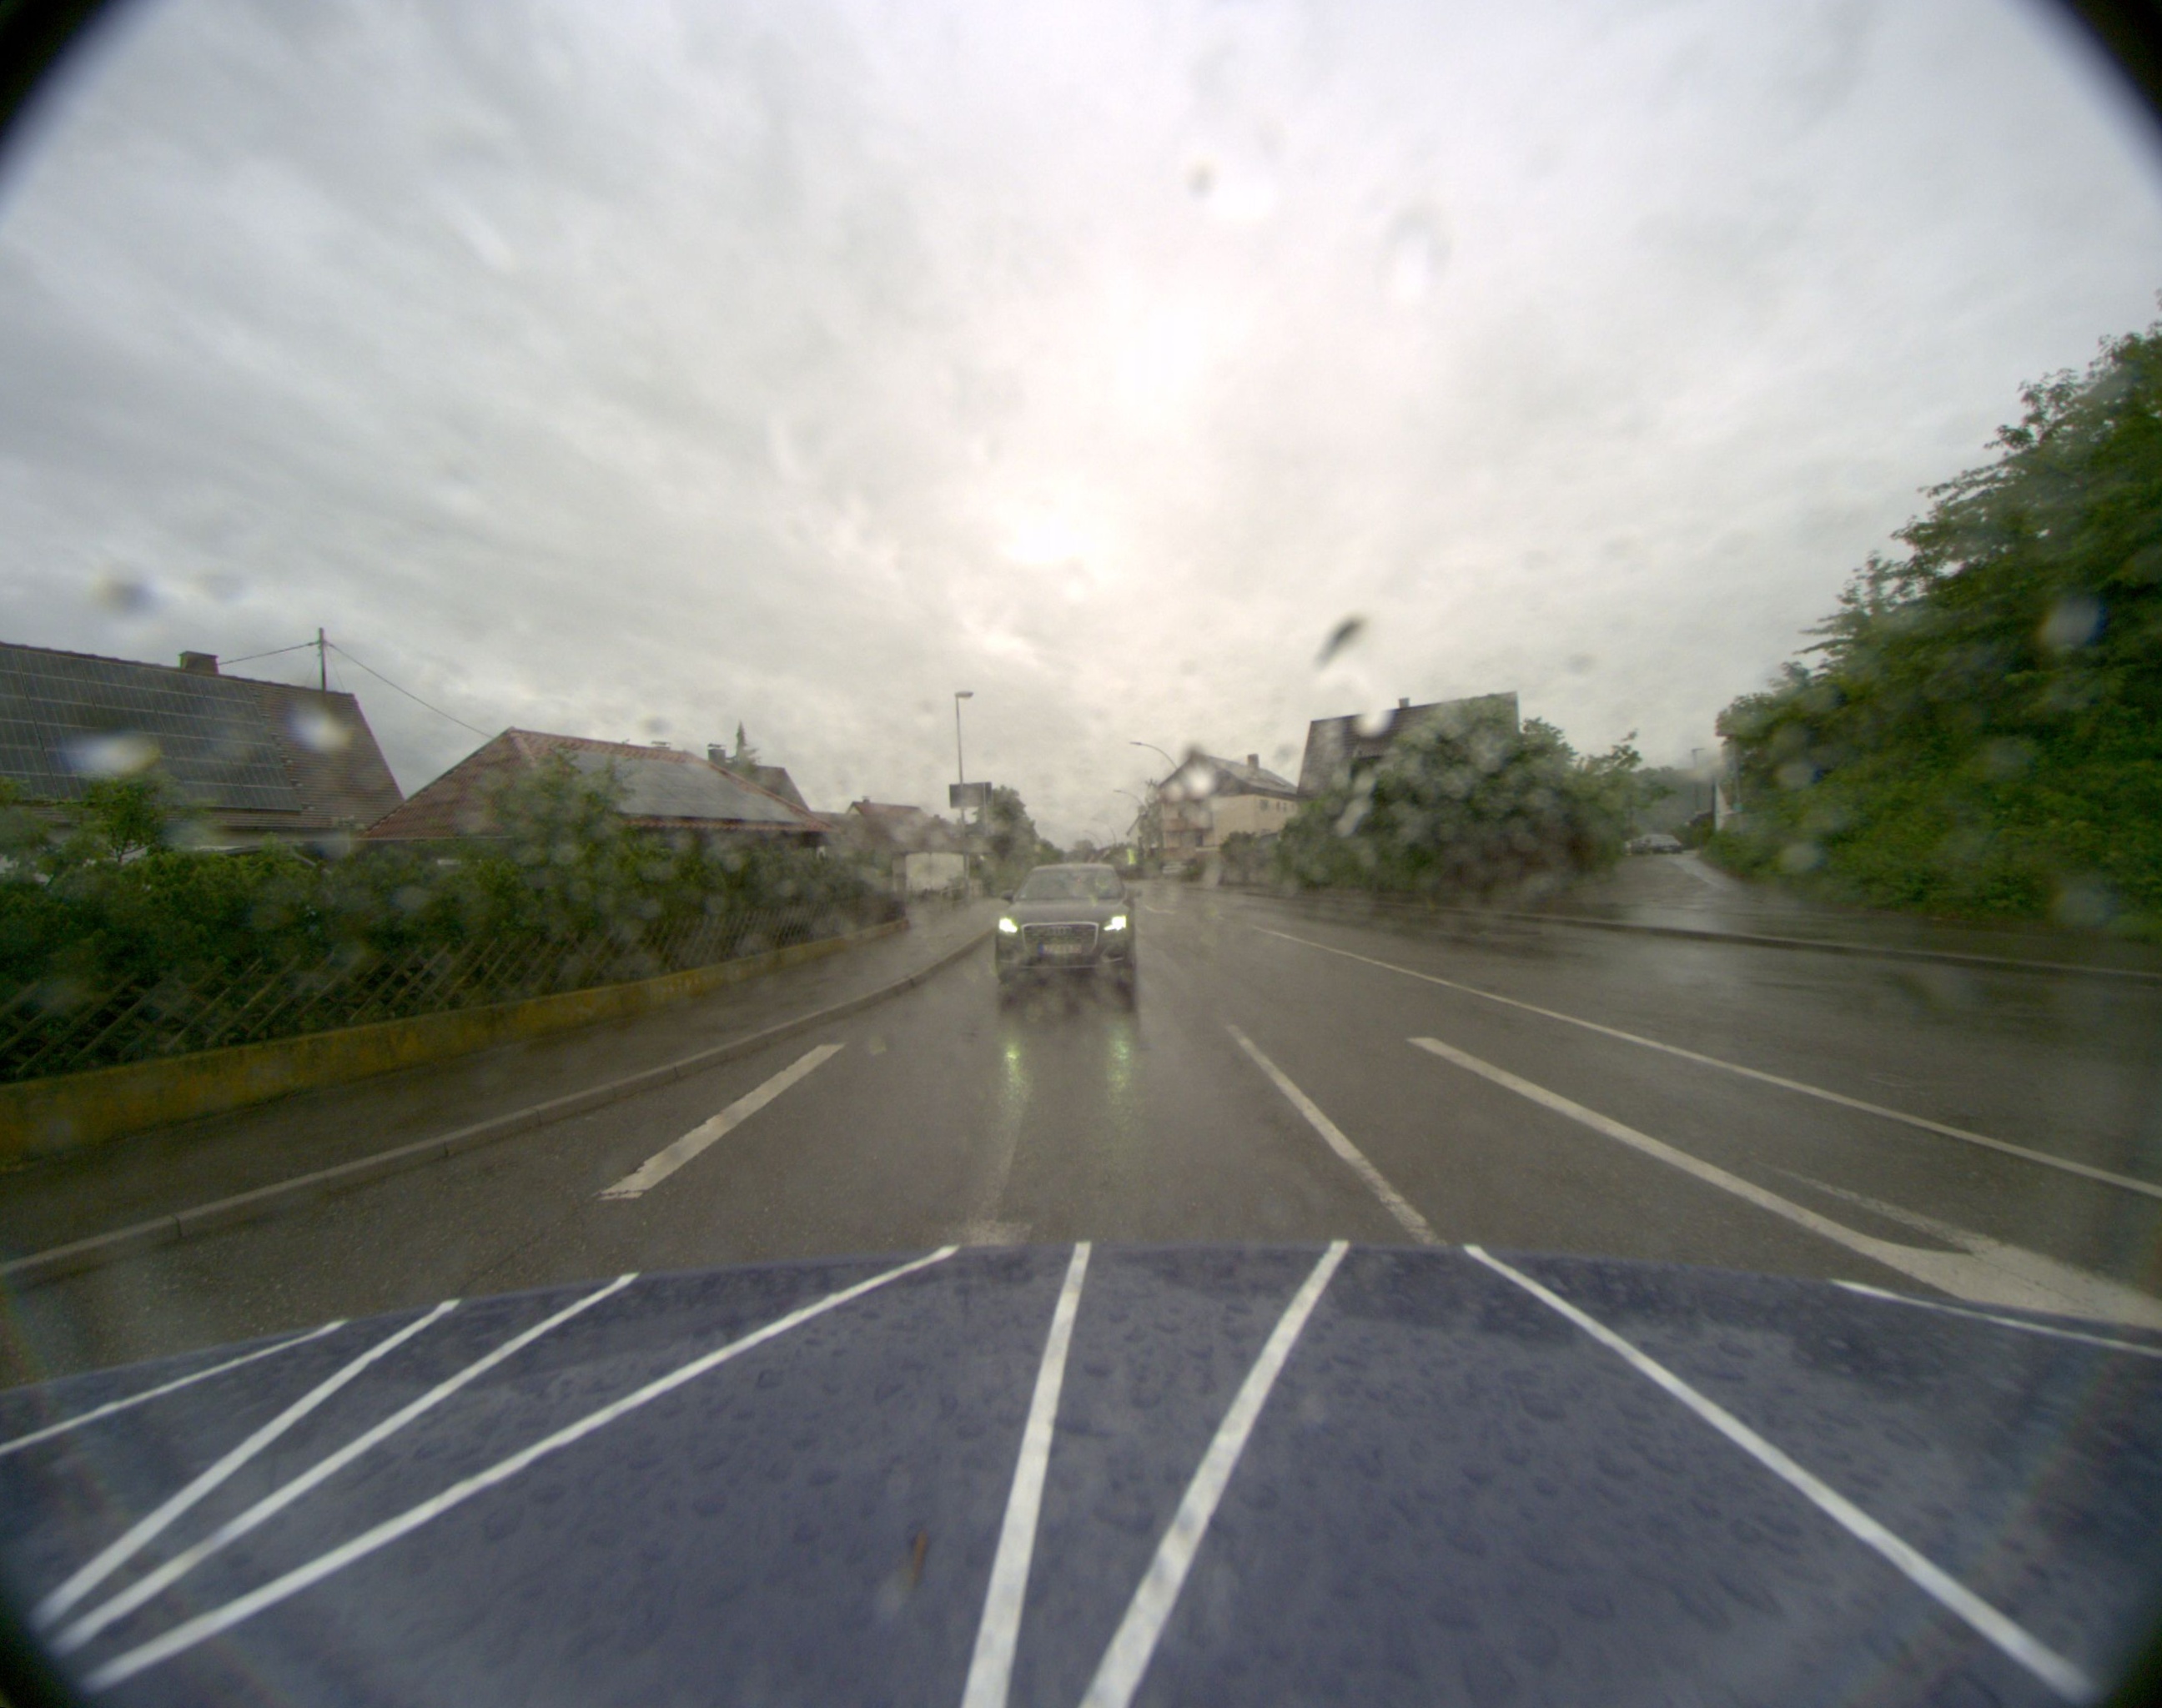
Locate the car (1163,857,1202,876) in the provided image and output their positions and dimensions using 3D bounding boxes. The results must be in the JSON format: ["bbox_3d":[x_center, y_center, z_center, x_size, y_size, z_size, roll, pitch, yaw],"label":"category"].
[{"bbox_3d":[8.972,1.067,67.141,1.864,1.510,4.007,-3,0,32],"label":"car"}]

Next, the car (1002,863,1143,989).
[{"bbox_3d":[0.049,0.950,11.654,1.687,1.486,3.941,-3,0,5],"label":"car"}]

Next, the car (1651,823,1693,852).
[{"bbox_3d":[41.133,-1.134,52.858,1.995,1.848,4.008,-3,0,41],"label":"car"}]

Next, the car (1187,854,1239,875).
[{"bbox_3d":[10.661,0.858,61.256,3.661,1.510,1.758,-3,0,35],"label":"car"}]

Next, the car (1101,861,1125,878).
[{"bbox_3d":[3.411,1.655,80.873,1.997,1.658,4.419,-3,0,9],"label":"car"}]

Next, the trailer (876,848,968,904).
[{"bbox_3d":[-7.662,1.016,37.109,1.645,2.502,4.712,-3,-1,29],"label":"trailer"}]

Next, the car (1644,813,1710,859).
[{"bbox_3d":[22.970,-0.703,29.220,1.706,1.579,3.669,-2,0,42],"label":"car"}]
